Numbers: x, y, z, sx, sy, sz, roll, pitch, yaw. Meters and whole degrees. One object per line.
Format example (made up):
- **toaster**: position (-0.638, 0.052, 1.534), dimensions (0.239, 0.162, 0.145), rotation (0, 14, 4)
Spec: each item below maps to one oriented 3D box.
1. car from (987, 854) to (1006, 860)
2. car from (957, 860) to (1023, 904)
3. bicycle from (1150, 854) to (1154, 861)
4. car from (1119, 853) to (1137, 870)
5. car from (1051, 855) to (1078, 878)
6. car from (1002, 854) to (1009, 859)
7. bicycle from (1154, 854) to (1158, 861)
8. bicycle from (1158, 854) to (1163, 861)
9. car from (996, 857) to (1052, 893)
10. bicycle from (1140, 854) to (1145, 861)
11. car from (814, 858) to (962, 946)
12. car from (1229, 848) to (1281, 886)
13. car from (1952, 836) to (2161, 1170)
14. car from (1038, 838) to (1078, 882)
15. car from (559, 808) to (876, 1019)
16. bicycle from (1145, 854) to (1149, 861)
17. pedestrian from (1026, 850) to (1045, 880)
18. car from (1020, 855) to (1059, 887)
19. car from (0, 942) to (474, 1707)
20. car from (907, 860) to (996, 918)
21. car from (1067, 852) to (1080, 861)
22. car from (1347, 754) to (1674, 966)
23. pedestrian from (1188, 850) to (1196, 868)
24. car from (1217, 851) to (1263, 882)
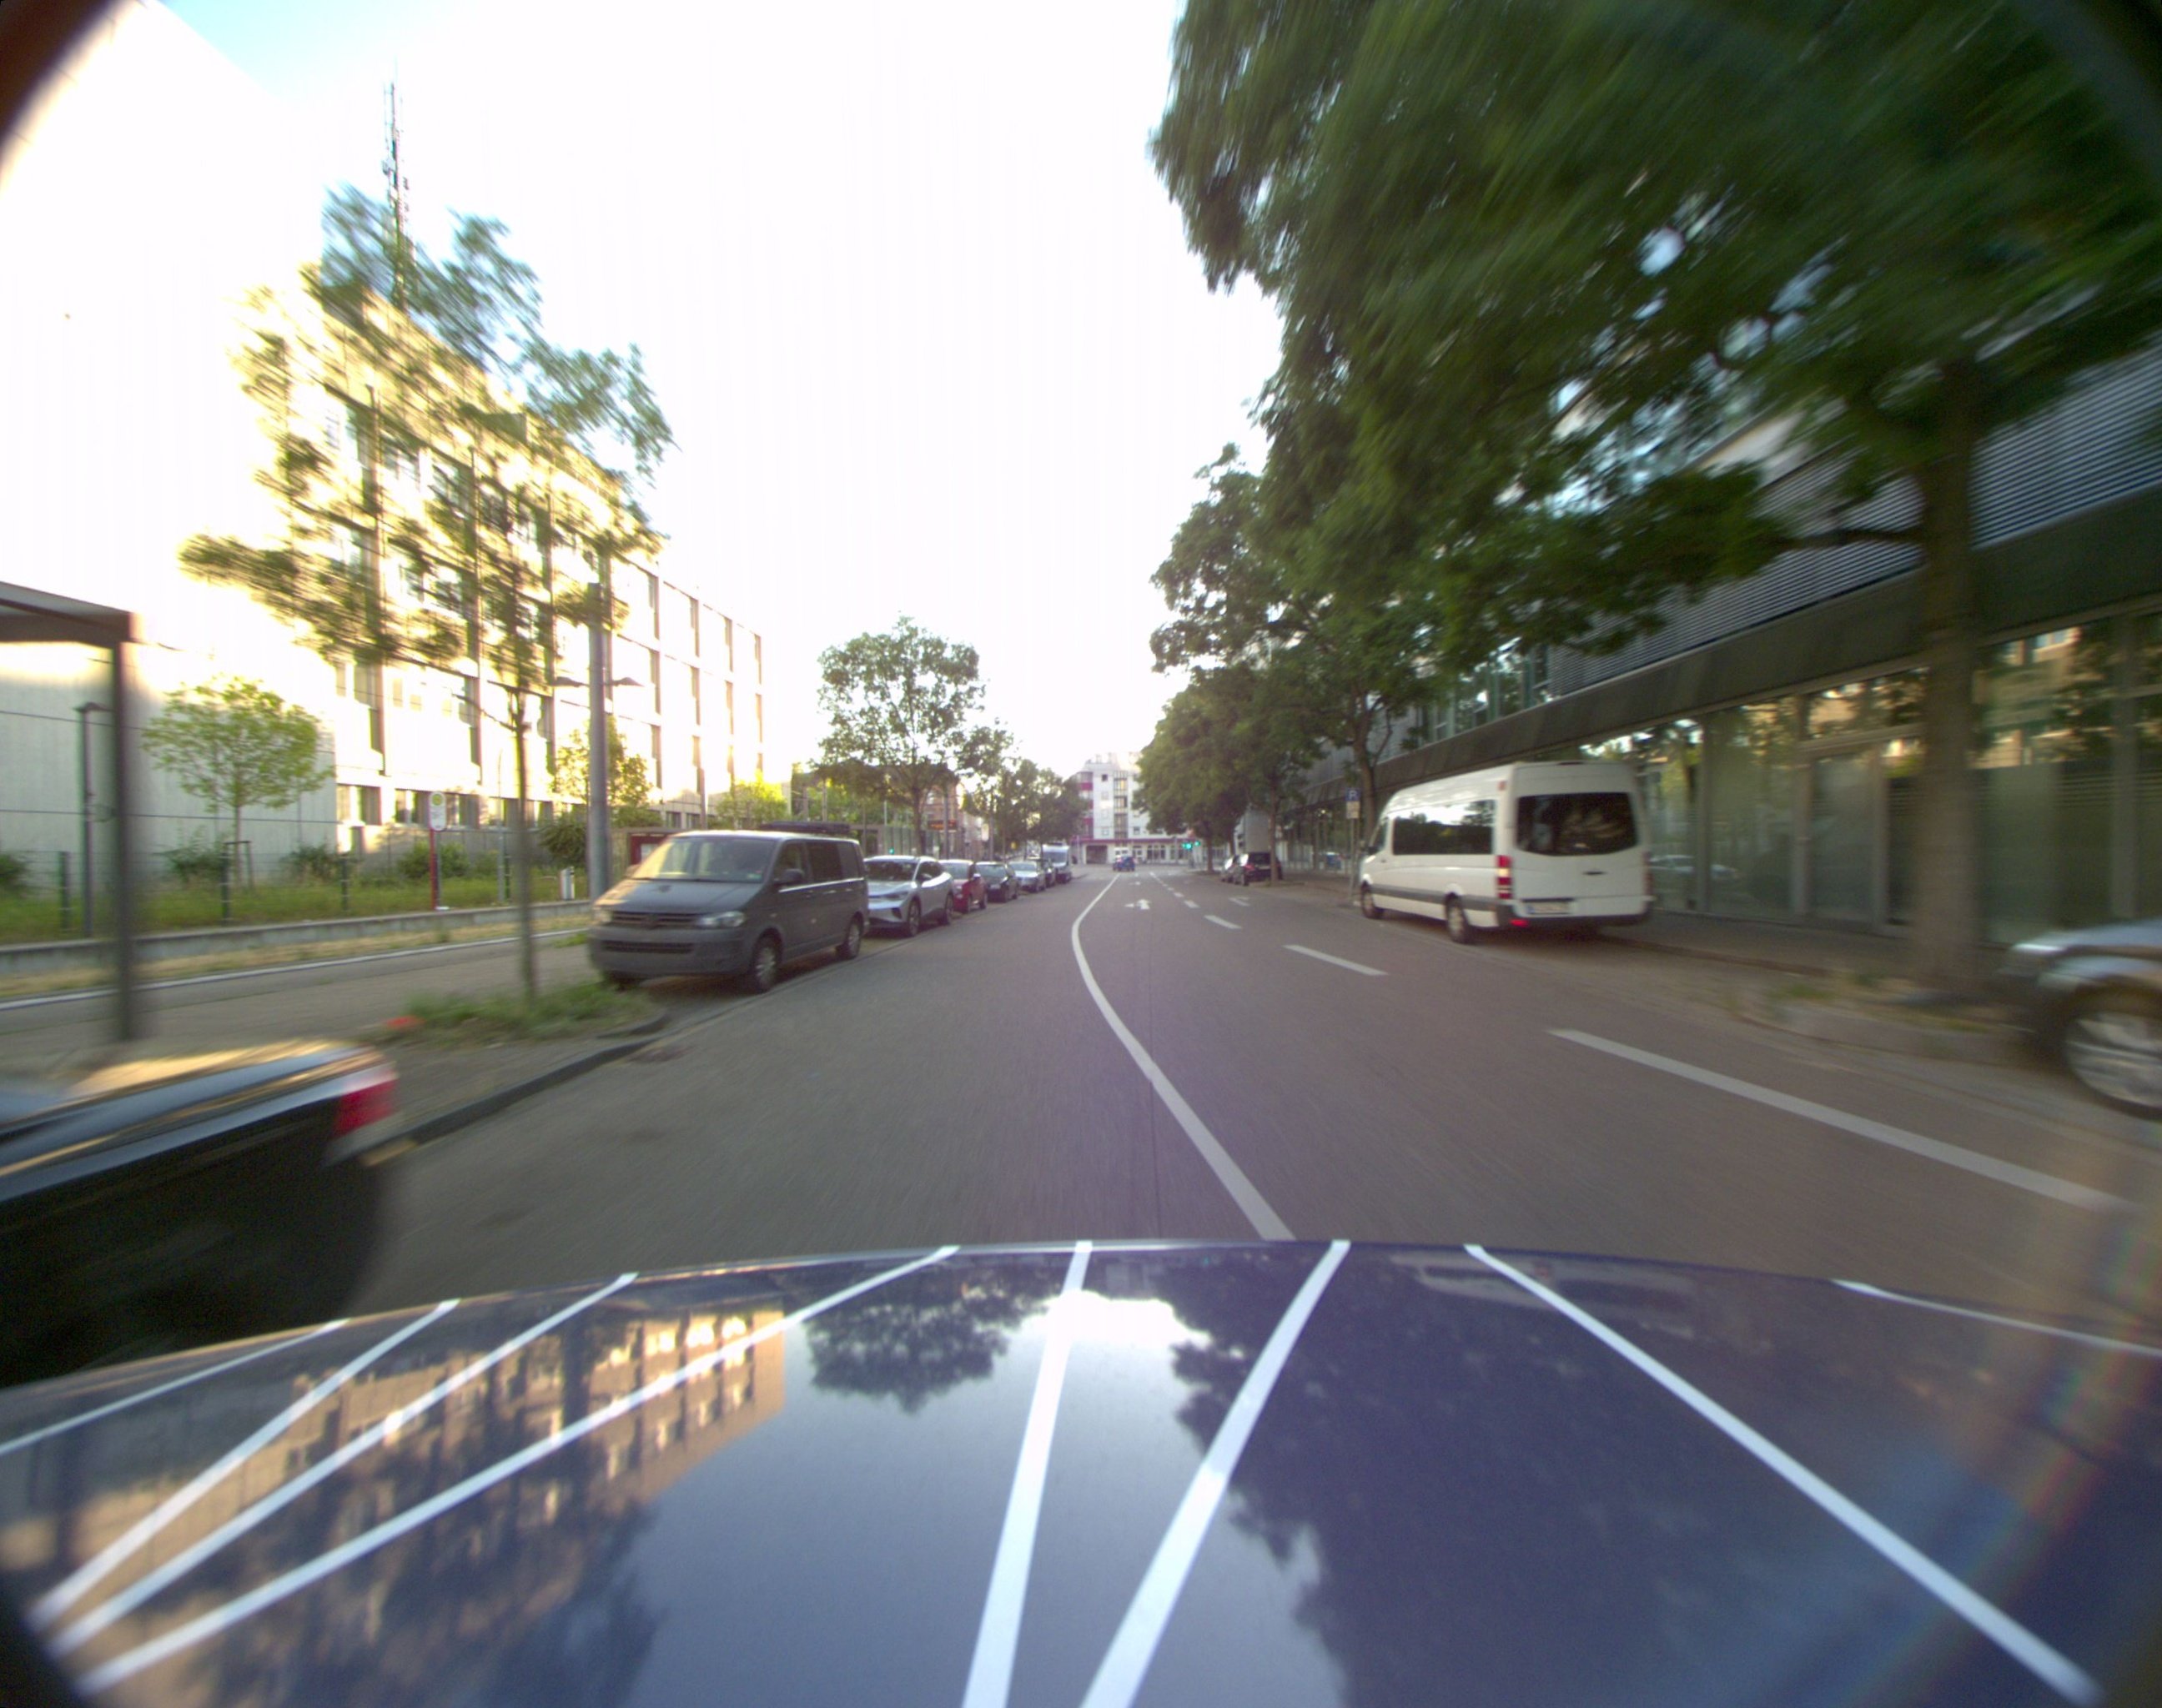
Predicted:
- **car**: position (-20.748, 0.816, 186.938), dimensions (4.705, 1.477, 1.906), rotation (-1, 1, -8)
- **car**: position (-3.301, 0.973, 28.248), dimensions (1.711, 1.443, 4.001), rotation (1, 1, 3)
- **bicycle**: position (10.769, 0.479, 115.269), dimensions (0.515, 1.040, 1.903), rotation (-1, 0, 1)
- **car**: position (4.962, 0.739, 79.141), dimensions (1.751, 1.668, 4.274), rotation (-2, 0, 4)
- **car**: position (-1.191, 0.892, 56.023), dimensions (1.752, 1.574, 4.013), rotation (2, 0, 1)
- **car**: position (-21.089, 0.662, 210.960), dimensions (1.787, 1.448, 4.294), rotation (-1, 0, -7)
- **bicycle**: position (11.365, 0.459, 115.203), dimensions (0.515, 1.040, 1.903), rotation (-1, 0, 1)
- **bicycle**: position (12.009, 0.467, 114.927), dimensions (0.515, 1.040, 1.903), rotation (-1, 0, 1)
- **car**: position (-2.626, 0.930, 36.041), dimensions (1.800, 1.487, 4.782), rotation (2, 0, 5)
- **bicycle**: position (9.331, 0.518, 115.262), dimensions (0.515, 1.040, 1.903), rotation (-1, 0, 1)
- **car**: position (-3.986, 0.907, 16.541), dimensions (1.711, 1.571, 4.480), rotation (1, 1, 5)
- **car**: position (8.051, 0.587, 35.494), dimensions (1.593, 1.559, 4.472), rotation (-4, 0, 4)
- **car**: position (5.880, 0.687, 2.265), dimensions (1.848, 1.562, 4.268), rotation (-1, 0, 4)
- **car**: position (-1.428, 0.355, 49.514), dimensions (2.055, 2.642, 5.435), rotation (2, 0, 2)
- **car**: position (-4.454, 0.603, 10.307), dimensions (1.808, 2.164, 4.736), rotation (1, 1, 3)
- **bicycle**: position (9.971, 0.506, 115.235), dimensions (0.515, 1.040, 1.903), rotation (-1, 0, 1)
- **pedestrian**: position (-3.114, 0.714, 51.755), dimensions (0.981, 2.002, 0.805), rotation (-1, 1, -41)
- **car**: position (-2.254, 0.909, 42.474), dimensions (1.711, 1.634, 4.268), rotation (1, 1, 3)
- **car**: position (-2.904, 1.024, 0.199), dimensions (1.791, 1.443, 4.515), rotation (-1, 0, 1)
- **car**: position (-3.751, 0.963, 22.658), dimensions (1.711, 1.484, 4.131), rotation (1, 1, 3)
- **car**: position (-1.253, 0.458, 126.012), dimensions (2.006, 1.448, 4.296), rotation (-1, 0, -1)
- **car**: position (6.649, 0.078, 13.092), dimensions (2.105, 2.648, 6.953), rotation (-1, 0, 4)
- **pedestrian**: position (11.047, 0.500, 75.470), dimensions (0.545, 1.691, 0.709), rotation (0, 1, 31)
- **car**: position (8.468, 0.645, 40.783), dimensions (1.707, 1.453, 4.628), rotation (-4, 0, 4)
